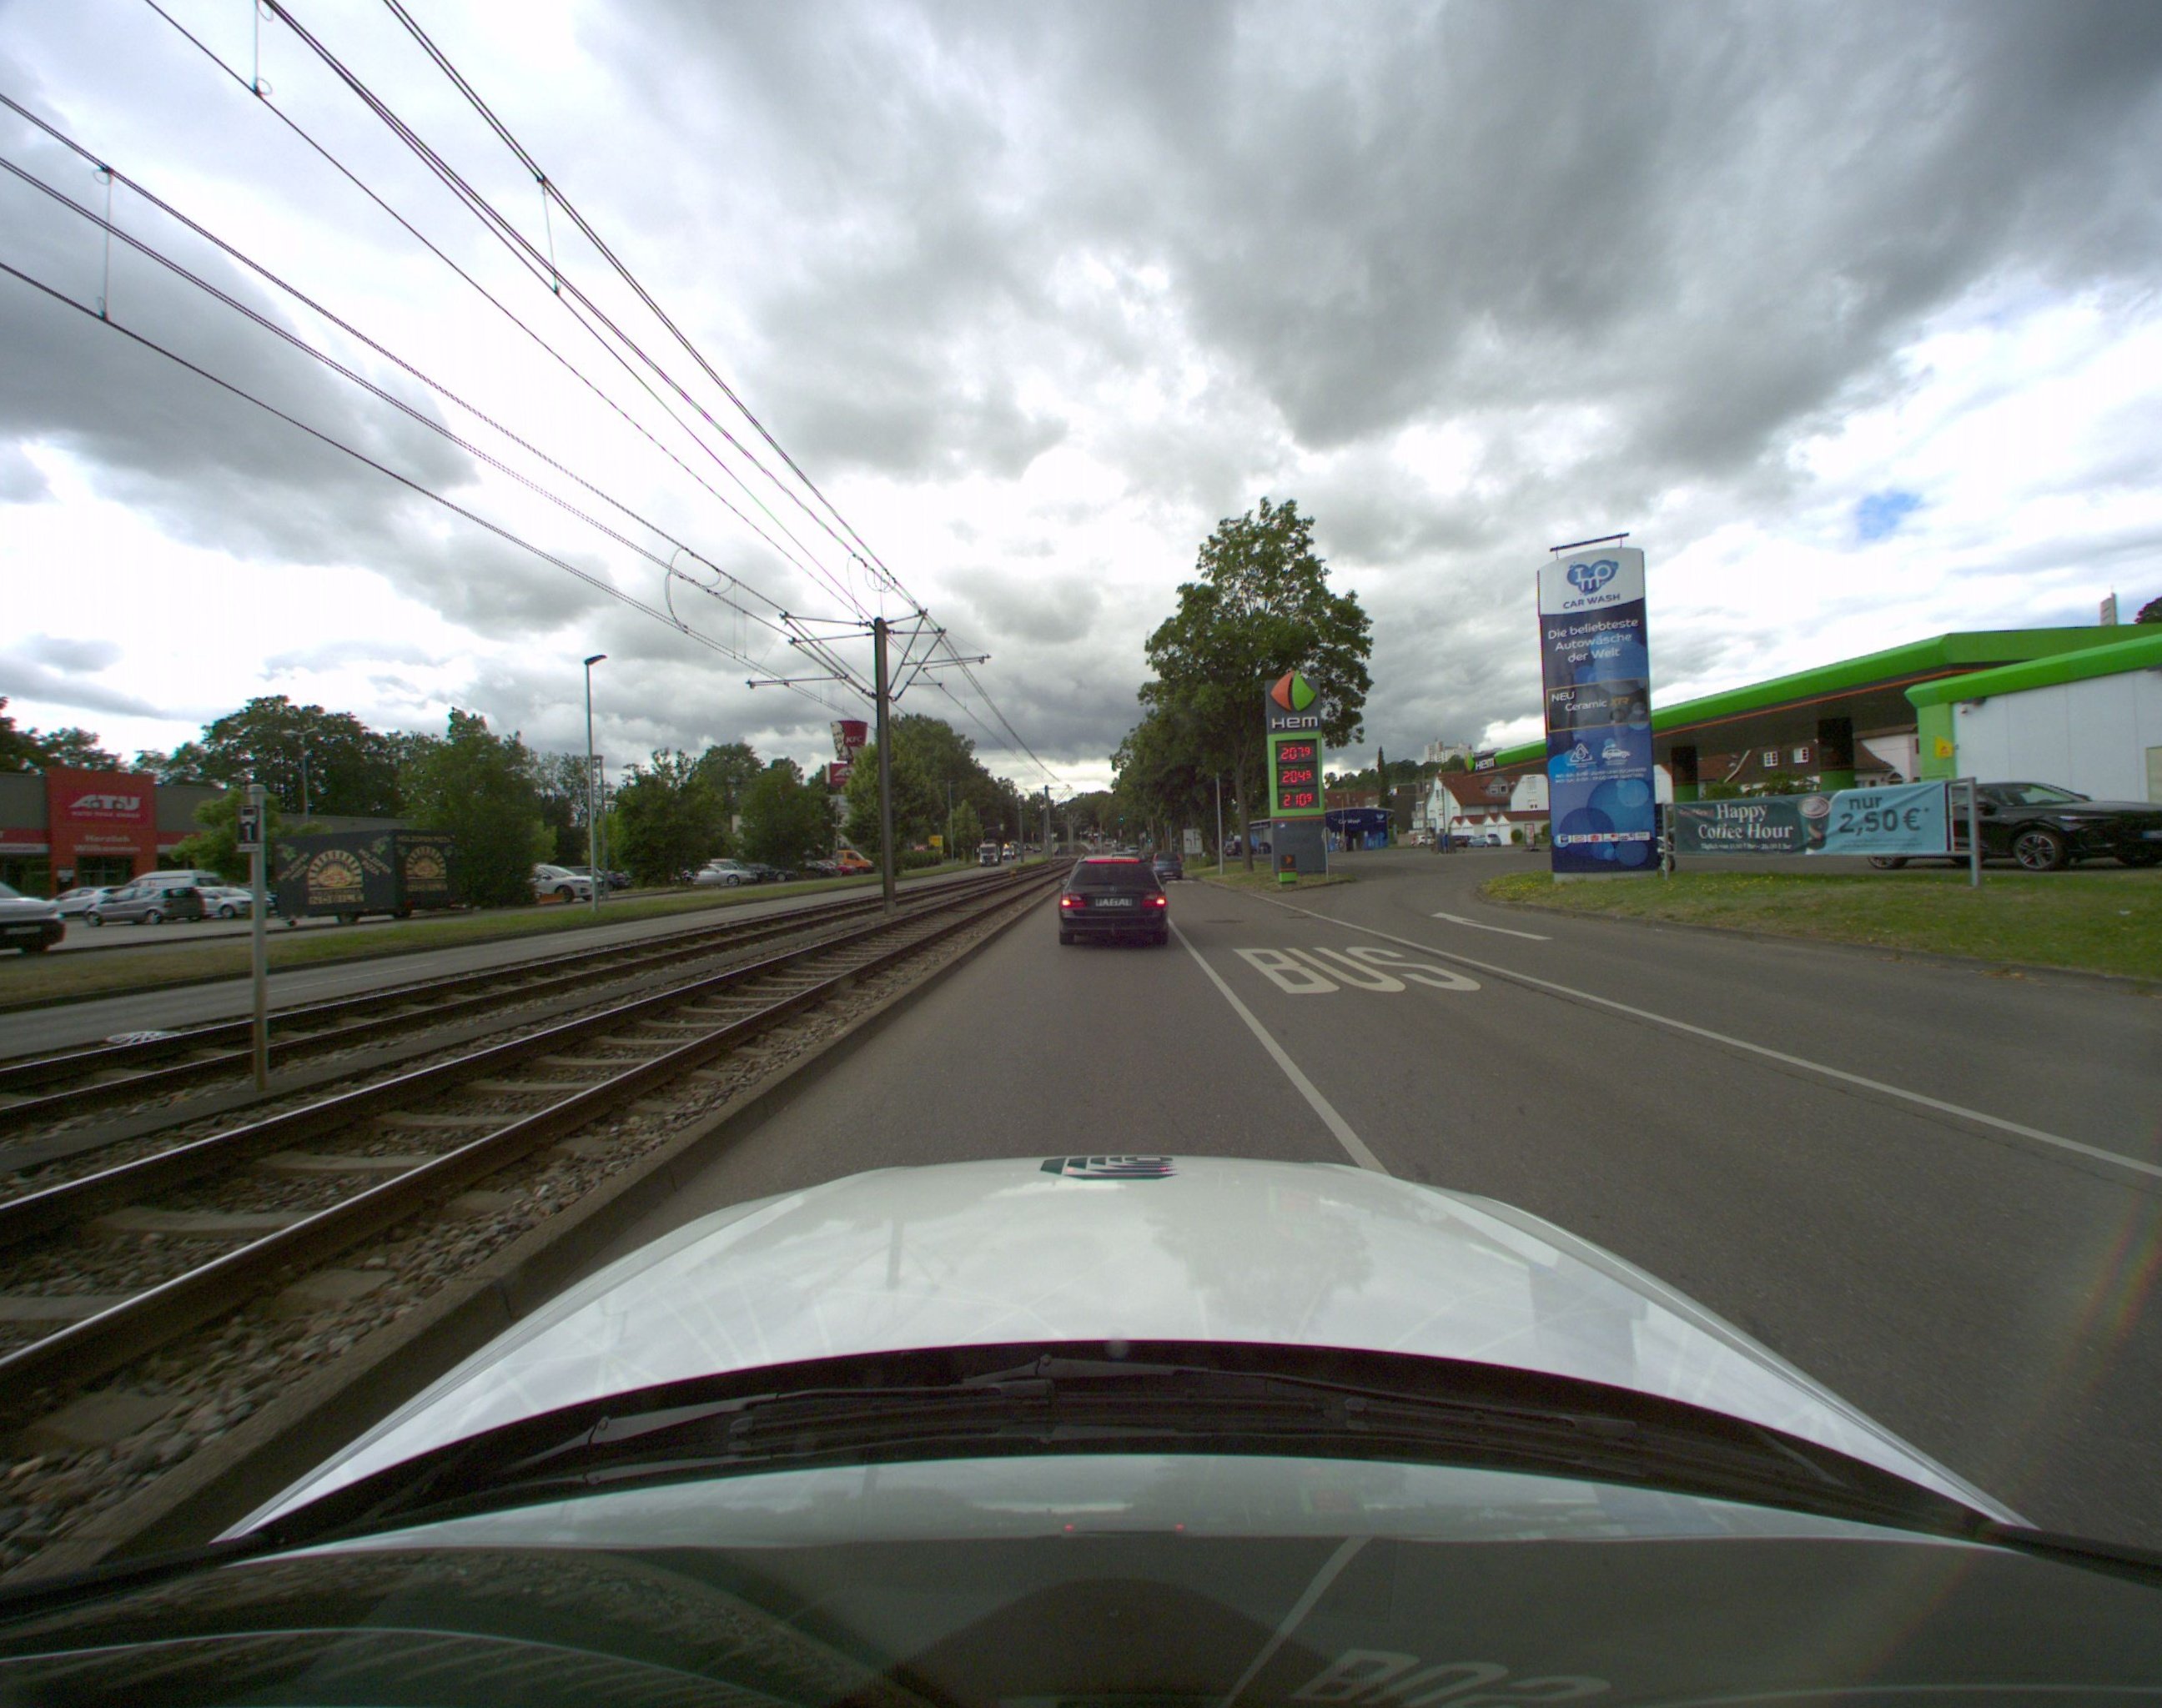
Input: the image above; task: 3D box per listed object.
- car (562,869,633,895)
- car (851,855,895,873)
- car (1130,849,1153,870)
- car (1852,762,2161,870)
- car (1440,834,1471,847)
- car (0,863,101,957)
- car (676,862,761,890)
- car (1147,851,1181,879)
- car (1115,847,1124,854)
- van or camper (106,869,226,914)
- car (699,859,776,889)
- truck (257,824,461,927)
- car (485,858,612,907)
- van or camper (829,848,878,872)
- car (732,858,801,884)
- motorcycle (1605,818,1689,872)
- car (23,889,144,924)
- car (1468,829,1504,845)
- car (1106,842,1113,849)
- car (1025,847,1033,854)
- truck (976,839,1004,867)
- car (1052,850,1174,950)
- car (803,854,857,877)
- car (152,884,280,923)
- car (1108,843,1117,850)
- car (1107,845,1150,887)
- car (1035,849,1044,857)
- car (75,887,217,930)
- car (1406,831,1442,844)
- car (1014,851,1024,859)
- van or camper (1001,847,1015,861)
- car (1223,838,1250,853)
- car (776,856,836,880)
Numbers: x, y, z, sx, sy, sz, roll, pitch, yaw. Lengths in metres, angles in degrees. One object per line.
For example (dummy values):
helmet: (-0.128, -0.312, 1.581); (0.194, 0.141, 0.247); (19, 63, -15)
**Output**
car: (-33.081, 1.903, 55.740); (3.736, 1.472, 1.677); (-3, 0, -5)
car: (-21.143, 1.043, 82.872); (3.978, 1.599, 1.795); (-3, 0, -3)
car: (4.220, 0.401, 56.863); (1.460, 1.414, 3.356); (0, 0, 2)
car: (17.488, -0.625, 15.326); (1.813, 1.674, 4.339); (-4, -1, 2)
car: (42.735, -1.560, 93.063); (1.581, 1.394, 3.406); (-1, 0, -10)
car: (-22.385, 1.156, 15.787); (4.207, 1.727, 1.995); (-3, 0, 0)
car: (-21.756, 1.294, 48.994); (4.293, 1.472, 1.680); (-2, 0, -1)
car: (4.352, 0.586, 43.024); (1.565, 1.414, 3.356); (0, 0, 2)
car: (8.244, -0.788, 174.100); (1.662, 1.532, 3.768); (-1, 0, -1)
van or camper: (-49.982, 2.037, 44.566); (4.252, 2.145, 1.820); (-3, 0, -3)
car: (-21.735, 1.237, 51.620); (3.978, 1.635, 1.876); (-3, 0, -3)
truck: (-22.023, 0.630, 25.007); (3.975, 2.821, 2.375); (-3, 0, -1)
car: (-22.322, 1.171, 34.290); (3.978, 1.797, 1.876); (-3, 0, -3)
van or camper: (-20.724, 0.542, 74.276); (3.977, 2.135, 1.876); (-1, 0, -3)
car: (-21.800, 1.169, 56.559); (3.978, 1.599, 1.876); (-3, 0, -3)
motorcycle: (14.961, -0.222, 21.614); (0.852, 1.331, 1.991); (-3, 0, 2)
car: (-50.549, 2.632, 41.337); (3.736, 1.472, 1.677); (-3, 0, -5)
car: (43.777, -1.852, 88.062); (1.533, 1.599, 3.724); (-1, 0, -10)
car: (7.654, -2.333, 217.589); (1.986, 1.838, 4.002); (-1, 0, 2)
car: (-13.831, -0.911, 216.974); (1.758, 1.647, 3.773); (-1, 0, 2)
truck: (-12.745, -0.114, 115.065); (2.698, 3.663, 11.107); (-3, 0, -1)
car: (0.549, 0.675, 14.175); (1.801, 1.474, 3.883); (-1, 0, 2)
car: (-21.280, 0.944, 69.148); (3.977, 1.797, 1.876); (-1, 0, -3)
car: (-39.174, 2.202, 36.965); (3.736, 1.472, 1.677); (-3, 0, -5)
car: (7.521, -1.813, 194.531); (1.986, 1.714, 4.002); (-2, 0, 2)
car: (2.034, 0.503, 35.639); (1.773, 1.750, 3.720); (0, 0, 2)
car: (-9.732, -0.238, 189.616); (1.758, 1.647, 3.773); (-1, 0, 2)
car: (-39.340, 2.276, 34.347); (3.736, 1.472, 1.677); (-3, 0, -5)
car: (46.000, -2.207, 109.270); (4.203, 1.684, 1.777); (-1, 0, -1)
car: (-13.085, 0.205, 171.710); (1.758, 1.647, 3.773); (-1, 0, 2)
van or camper: (-13.083, -0.037, 146.630); (1.987, 2.354, 5.765); (-3, 0, 0)
car: (19.197, -1.058, 100.533); (1.987, 1.682, 4.607); (-3, 0, 26)
car: (-21.519, 1.091, 63.787); (3.978, 1.599, 1.876); (-3, 0, -3)
